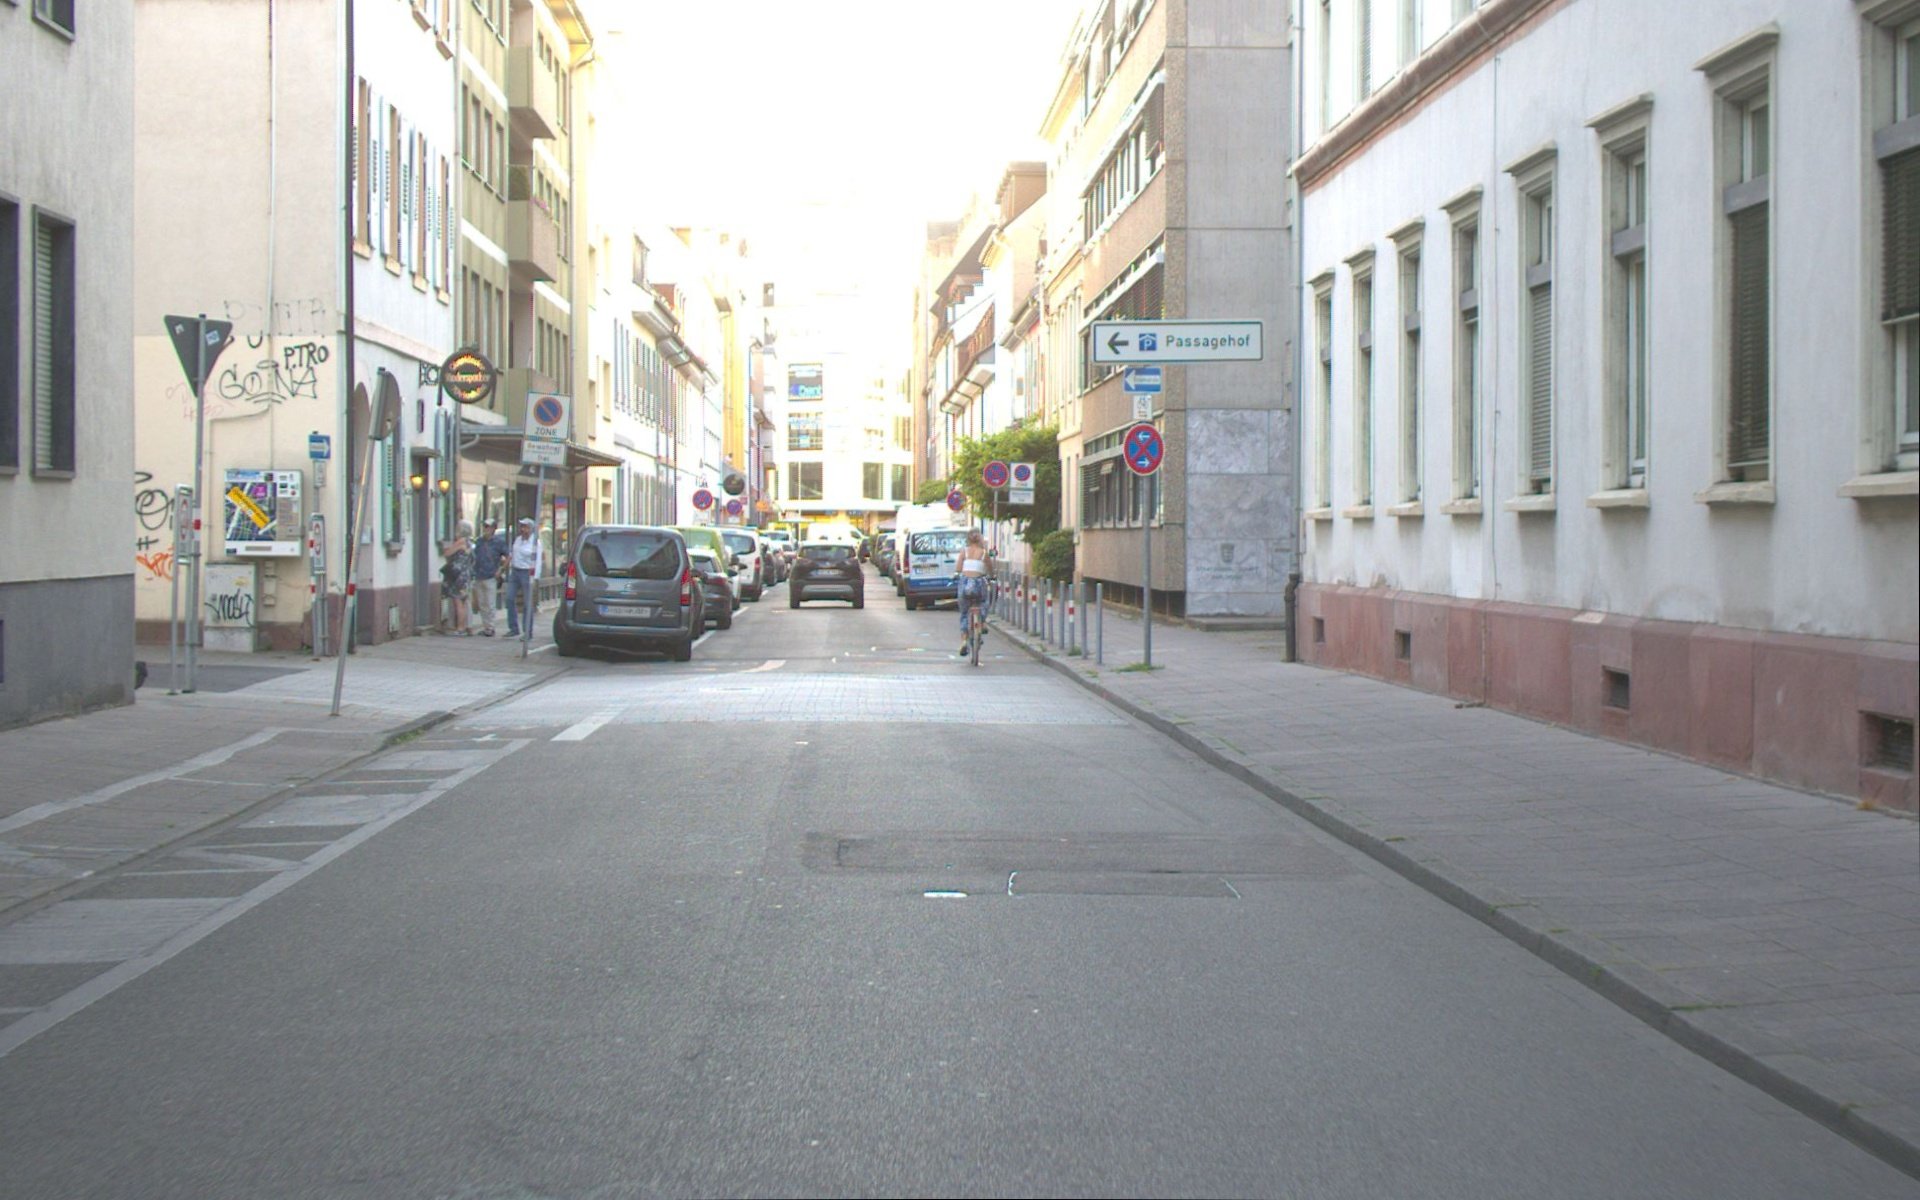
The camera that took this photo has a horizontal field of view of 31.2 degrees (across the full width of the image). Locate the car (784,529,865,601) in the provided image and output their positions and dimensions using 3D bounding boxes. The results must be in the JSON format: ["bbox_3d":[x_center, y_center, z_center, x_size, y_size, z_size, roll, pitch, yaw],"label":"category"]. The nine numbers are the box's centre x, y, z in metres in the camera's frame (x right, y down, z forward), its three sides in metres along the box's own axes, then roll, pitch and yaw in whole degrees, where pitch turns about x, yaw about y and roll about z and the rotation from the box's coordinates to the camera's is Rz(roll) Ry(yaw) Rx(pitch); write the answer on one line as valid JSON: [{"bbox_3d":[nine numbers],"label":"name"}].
[{"bbox_3d":[-3.174,-0.832,80.756,1.819,1.612,4.000,1,1,-2],"label":"car"}]

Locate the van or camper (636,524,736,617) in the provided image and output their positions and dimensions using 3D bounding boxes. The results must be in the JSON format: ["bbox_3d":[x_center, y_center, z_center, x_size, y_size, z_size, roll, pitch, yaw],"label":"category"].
[{"bbox_3d":[-5.585,-0.628,70.377,1.772,1.842,4.179,0,1,-1],"label":"van or camper"}]

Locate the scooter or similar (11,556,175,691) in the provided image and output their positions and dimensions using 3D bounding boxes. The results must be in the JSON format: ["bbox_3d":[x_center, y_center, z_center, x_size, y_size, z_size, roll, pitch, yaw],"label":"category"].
[{"bbox_3d":[-8.170,0.224,32.415,1.361,1.197,0.533,3,-1,-25],"label":"scooter or similar"}]

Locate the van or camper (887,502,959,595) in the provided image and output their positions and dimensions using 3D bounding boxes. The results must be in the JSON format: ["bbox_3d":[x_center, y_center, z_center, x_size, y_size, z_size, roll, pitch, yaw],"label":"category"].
[{"bbox_3d":[-1.102,-1.532,101.241,2.050,2.628,7.063,0,1,-1],"label":"van or camper"}]

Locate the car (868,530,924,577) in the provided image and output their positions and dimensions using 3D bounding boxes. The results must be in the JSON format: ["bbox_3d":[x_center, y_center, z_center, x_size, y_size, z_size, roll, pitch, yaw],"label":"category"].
[{"bbox_3d":[-2.229,-1.629,120.902,1.819,1.525,5.071,-3,1,0],"label":"car"}]

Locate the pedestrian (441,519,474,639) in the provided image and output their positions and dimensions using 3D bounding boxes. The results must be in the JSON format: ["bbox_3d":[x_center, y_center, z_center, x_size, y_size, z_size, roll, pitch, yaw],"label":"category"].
[{"bbox_3d":[-7.318,-0.305,50.083,0.406,1.744,0.470,1,1,0],"label":"pedestrian"}]

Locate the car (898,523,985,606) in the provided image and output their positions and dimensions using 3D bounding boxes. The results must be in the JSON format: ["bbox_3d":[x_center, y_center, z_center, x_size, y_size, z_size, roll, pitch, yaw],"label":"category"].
[{"bbox_3d":[-0.471,-0.858,81.316,1.936,1.891,5.277,0,1,-1],"label":"car"}]

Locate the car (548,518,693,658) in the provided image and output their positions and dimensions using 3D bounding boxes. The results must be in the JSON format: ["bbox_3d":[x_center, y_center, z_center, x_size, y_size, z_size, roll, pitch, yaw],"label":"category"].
[{"bbox_3d":[-4.650,-0.191,47.457,1.876,1.805,4.451,1,1,-5],"label":"car"}]

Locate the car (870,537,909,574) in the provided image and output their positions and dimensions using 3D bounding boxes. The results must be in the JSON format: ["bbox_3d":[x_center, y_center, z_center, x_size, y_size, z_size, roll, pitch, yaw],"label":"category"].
[{"bbox_3d":[-3.099,-1.976,151.250,1.653,1.555,3.606,1,1,-2],"label":"car"}]

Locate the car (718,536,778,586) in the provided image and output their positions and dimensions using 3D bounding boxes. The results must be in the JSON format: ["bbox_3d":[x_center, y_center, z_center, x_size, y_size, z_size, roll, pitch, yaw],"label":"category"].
[{"bbox_3d":[-7.171,-1.328,116.719,1.802,1.671,4.490,0,1,0],"label":"car"}]

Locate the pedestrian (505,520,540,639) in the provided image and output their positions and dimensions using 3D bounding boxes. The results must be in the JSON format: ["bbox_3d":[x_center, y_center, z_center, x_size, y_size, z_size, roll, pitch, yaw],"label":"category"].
[{"bbox_3d":[-6.472,-0.306,50.895,0.449,1.744,0.470,1,1,0],"label":"pedestrian"}]

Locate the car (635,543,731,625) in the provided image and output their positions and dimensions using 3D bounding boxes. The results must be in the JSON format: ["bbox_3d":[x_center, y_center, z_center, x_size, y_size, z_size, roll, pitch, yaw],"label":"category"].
[{"bbox_3d":[-4.999,-0.308,62.340,1.624,1.411,3.981,1,1,-3],"label":"car"}]

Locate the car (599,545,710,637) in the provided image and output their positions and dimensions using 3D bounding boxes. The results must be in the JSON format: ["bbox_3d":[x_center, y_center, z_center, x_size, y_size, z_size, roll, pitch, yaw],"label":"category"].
[{"bbox_3d":[-5.067,-0.169,57.368,1.624,1.479,3.878,0,1,-2],"label":"car"}]

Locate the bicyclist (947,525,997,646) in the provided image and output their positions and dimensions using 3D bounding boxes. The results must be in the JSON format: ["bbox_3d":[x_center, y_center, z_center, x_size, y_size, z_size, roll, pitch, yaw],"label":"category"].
[{"bbox_3d":[0.156,-0.191,45.248,0.621,1.569,0.683,1,1,-1],"label":"bicyclist"}]

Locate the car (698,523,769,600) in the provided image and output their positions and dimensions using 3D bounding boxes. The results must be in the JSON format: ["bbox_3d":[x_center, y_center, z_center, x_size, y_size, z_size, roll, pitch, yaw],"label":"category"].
[{"bbox_3d":[-6.062,-1.057,92.481,1.862,2.007,5.107,0,1,-3],"label":"car"}]

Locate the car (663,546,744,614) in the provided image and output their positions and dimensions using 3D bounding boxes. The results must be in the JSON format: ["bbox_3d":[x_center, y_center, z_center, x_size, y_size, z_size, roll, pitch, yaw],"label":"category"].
[{"bbox_3d":[-5.924,-0.467,79.700,1.662,1.444,3.521,3,1,-2],"label":"car"}]

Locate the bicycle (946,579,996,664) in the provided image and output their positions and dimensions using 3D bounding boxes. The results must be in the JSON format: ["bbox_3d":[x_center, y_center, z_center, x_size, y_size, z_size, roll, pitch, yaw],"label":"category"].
[{"bbox_3d":[0.142,0.275,45.247,0.613,1.078,1.809,1,1,-1],"label":"bicycle"}]

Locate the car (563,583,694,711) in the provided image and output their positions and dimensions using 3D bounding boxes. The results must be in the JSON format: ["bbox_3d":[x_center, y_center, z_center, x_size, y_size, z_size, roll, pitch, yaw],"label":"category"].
[{"bbox_3d":[-5.033,0.676,52.584,1.772,1.805,4.511,1,1,-3],"label":"car"}]

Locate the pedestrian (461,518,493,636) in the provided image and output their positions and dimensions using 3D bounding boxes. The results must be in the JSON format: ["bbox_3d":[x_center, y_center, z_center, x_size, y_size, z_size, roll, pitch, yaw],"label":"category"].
[{"bbox_3d":[-7.217,-0.348,51.394,0.406,1.744,0.470,1,1,0],"label":"pedestrian"}]
